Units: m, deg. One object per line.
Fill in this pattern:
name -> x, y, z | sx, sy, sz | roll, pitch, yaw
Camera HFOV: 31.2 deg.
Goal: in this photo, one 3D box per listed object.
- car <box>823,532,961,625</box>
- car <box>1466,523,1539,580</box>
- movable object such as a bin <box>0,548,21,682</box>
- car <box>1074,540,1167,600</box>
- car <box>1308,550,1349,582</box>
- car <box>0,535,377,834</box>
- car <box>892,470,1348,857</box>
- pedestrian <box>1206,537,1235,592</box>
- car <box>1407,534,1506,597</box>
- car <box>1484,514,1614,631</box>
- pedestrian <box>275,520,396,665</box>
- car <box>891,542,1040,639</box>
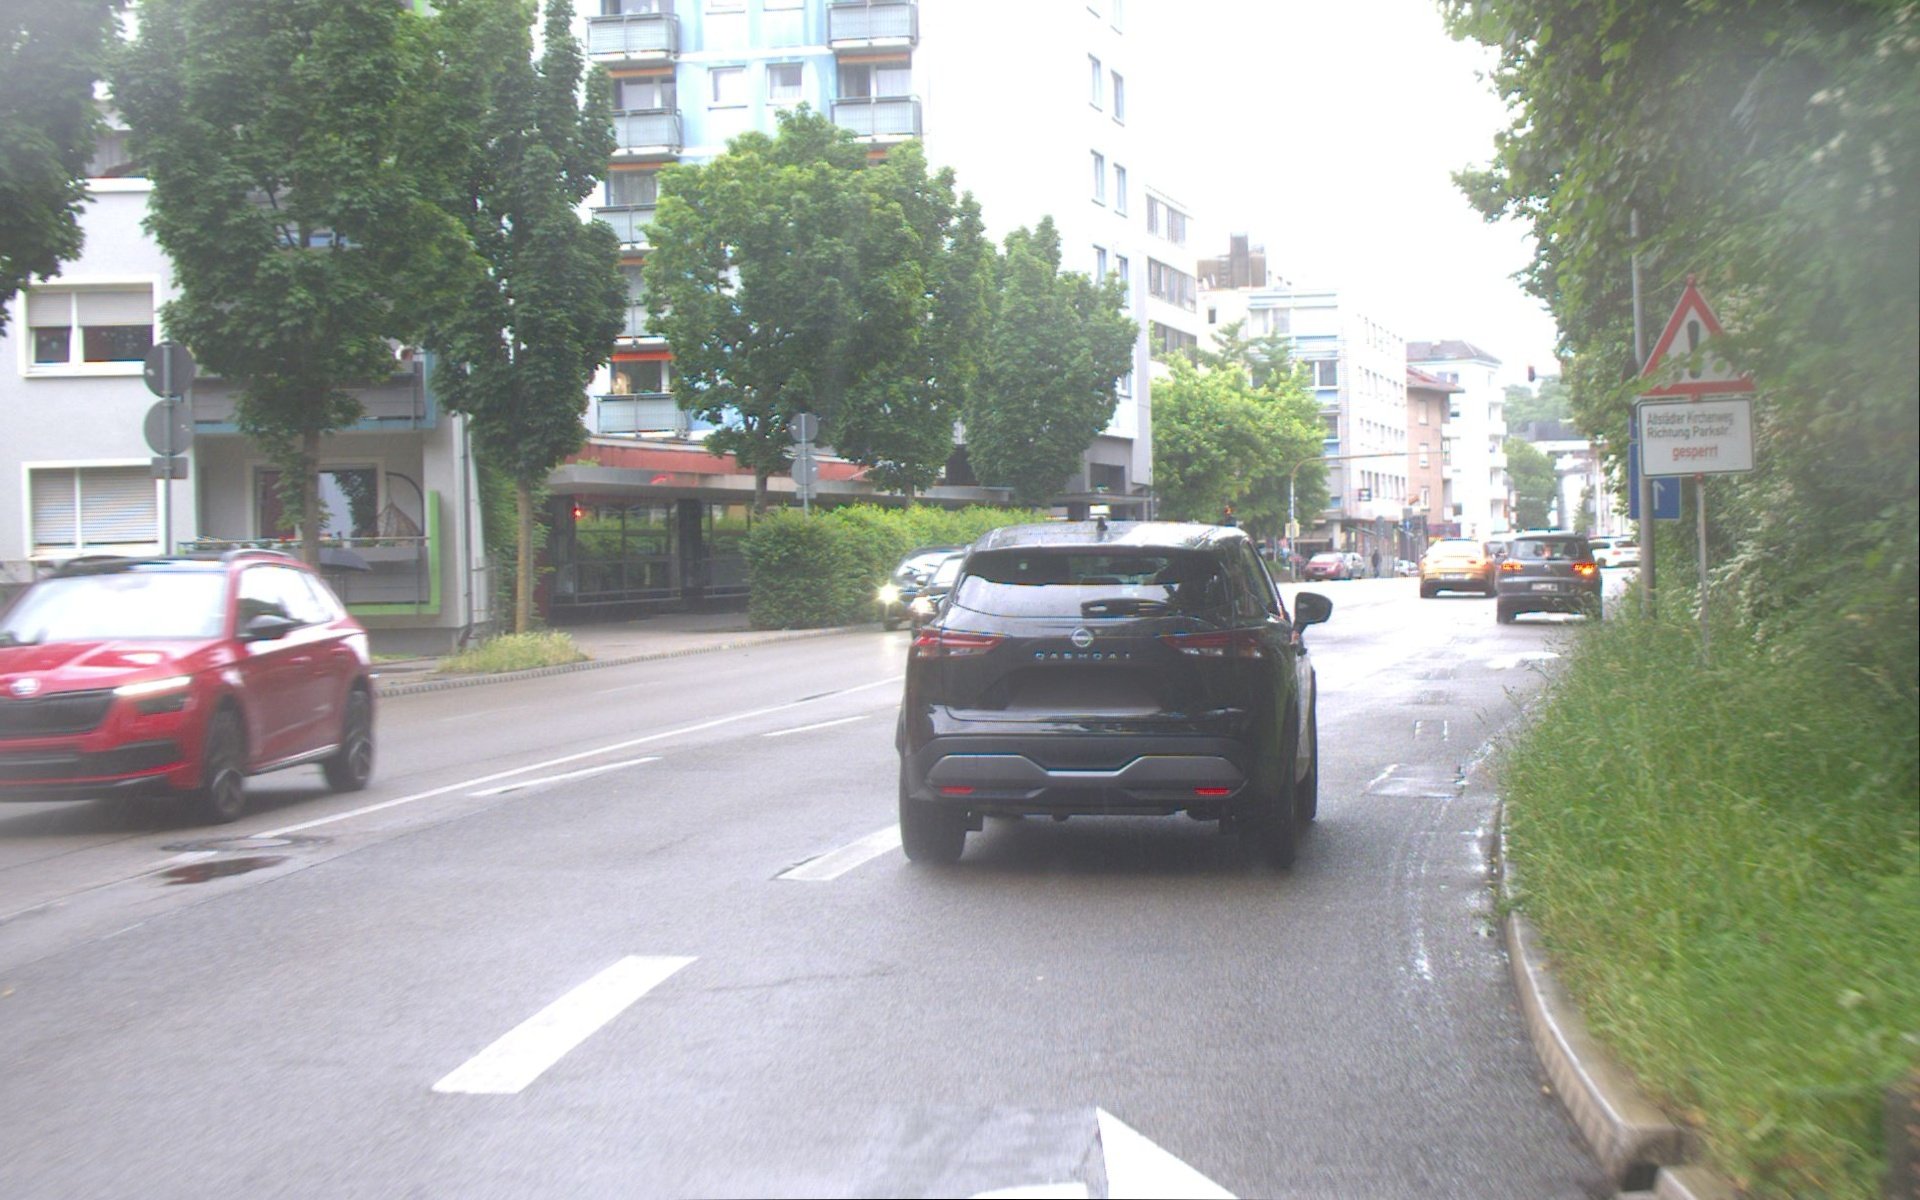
car -> -1.246, -0.438, 65.286 | 1.874, 1.597, 4.463 | -3, 1, 8
car -> 14.987, -1.354, 94.844 | 1.744, 1.482, 4.159 | -2, 1, 12
movable object such as a bin -> -11.330, 0.194, 37.801 | 1.215, 1.479, 2.087 | -1, 1, 6
car -> 4.189, -0.792, 88.966 | 1.874, 1.386, 4.625 | -3, 1, 9
car -> 18.137, -1.672, 169.317 | 1.673, 1.473, 3.606 | -3, 0, 11
car -> -4.759, 0.407, 20.204 | 1.676, 1.557, 4.141 | 0, 1, 4
car -> 0.692, 0.238, 17.078 | 1.959, 1.647, 4.000 | -2, 1, 0
pedestrian -> 9.627, -1.318, 127.025 | 0.940, 2.007, 0.886 | -3, 0, 4
car -> 12.410, -0.869, 85.675 | 2.067, 1.459, 4.584 | -1, 1, 13
car -> 10.612, -0.521, 61.766 | 1.995, 2.007, 3.998 | -1, 1, 14
pedestrian -> -7.965, -0.108, 43.906 | 1.135, 1.797, 1.262 | -1, 1, 9
car -> 0.138, -0.180, 54.989 | 1.841, 1.380, 4.359 | -3, 1, 7
